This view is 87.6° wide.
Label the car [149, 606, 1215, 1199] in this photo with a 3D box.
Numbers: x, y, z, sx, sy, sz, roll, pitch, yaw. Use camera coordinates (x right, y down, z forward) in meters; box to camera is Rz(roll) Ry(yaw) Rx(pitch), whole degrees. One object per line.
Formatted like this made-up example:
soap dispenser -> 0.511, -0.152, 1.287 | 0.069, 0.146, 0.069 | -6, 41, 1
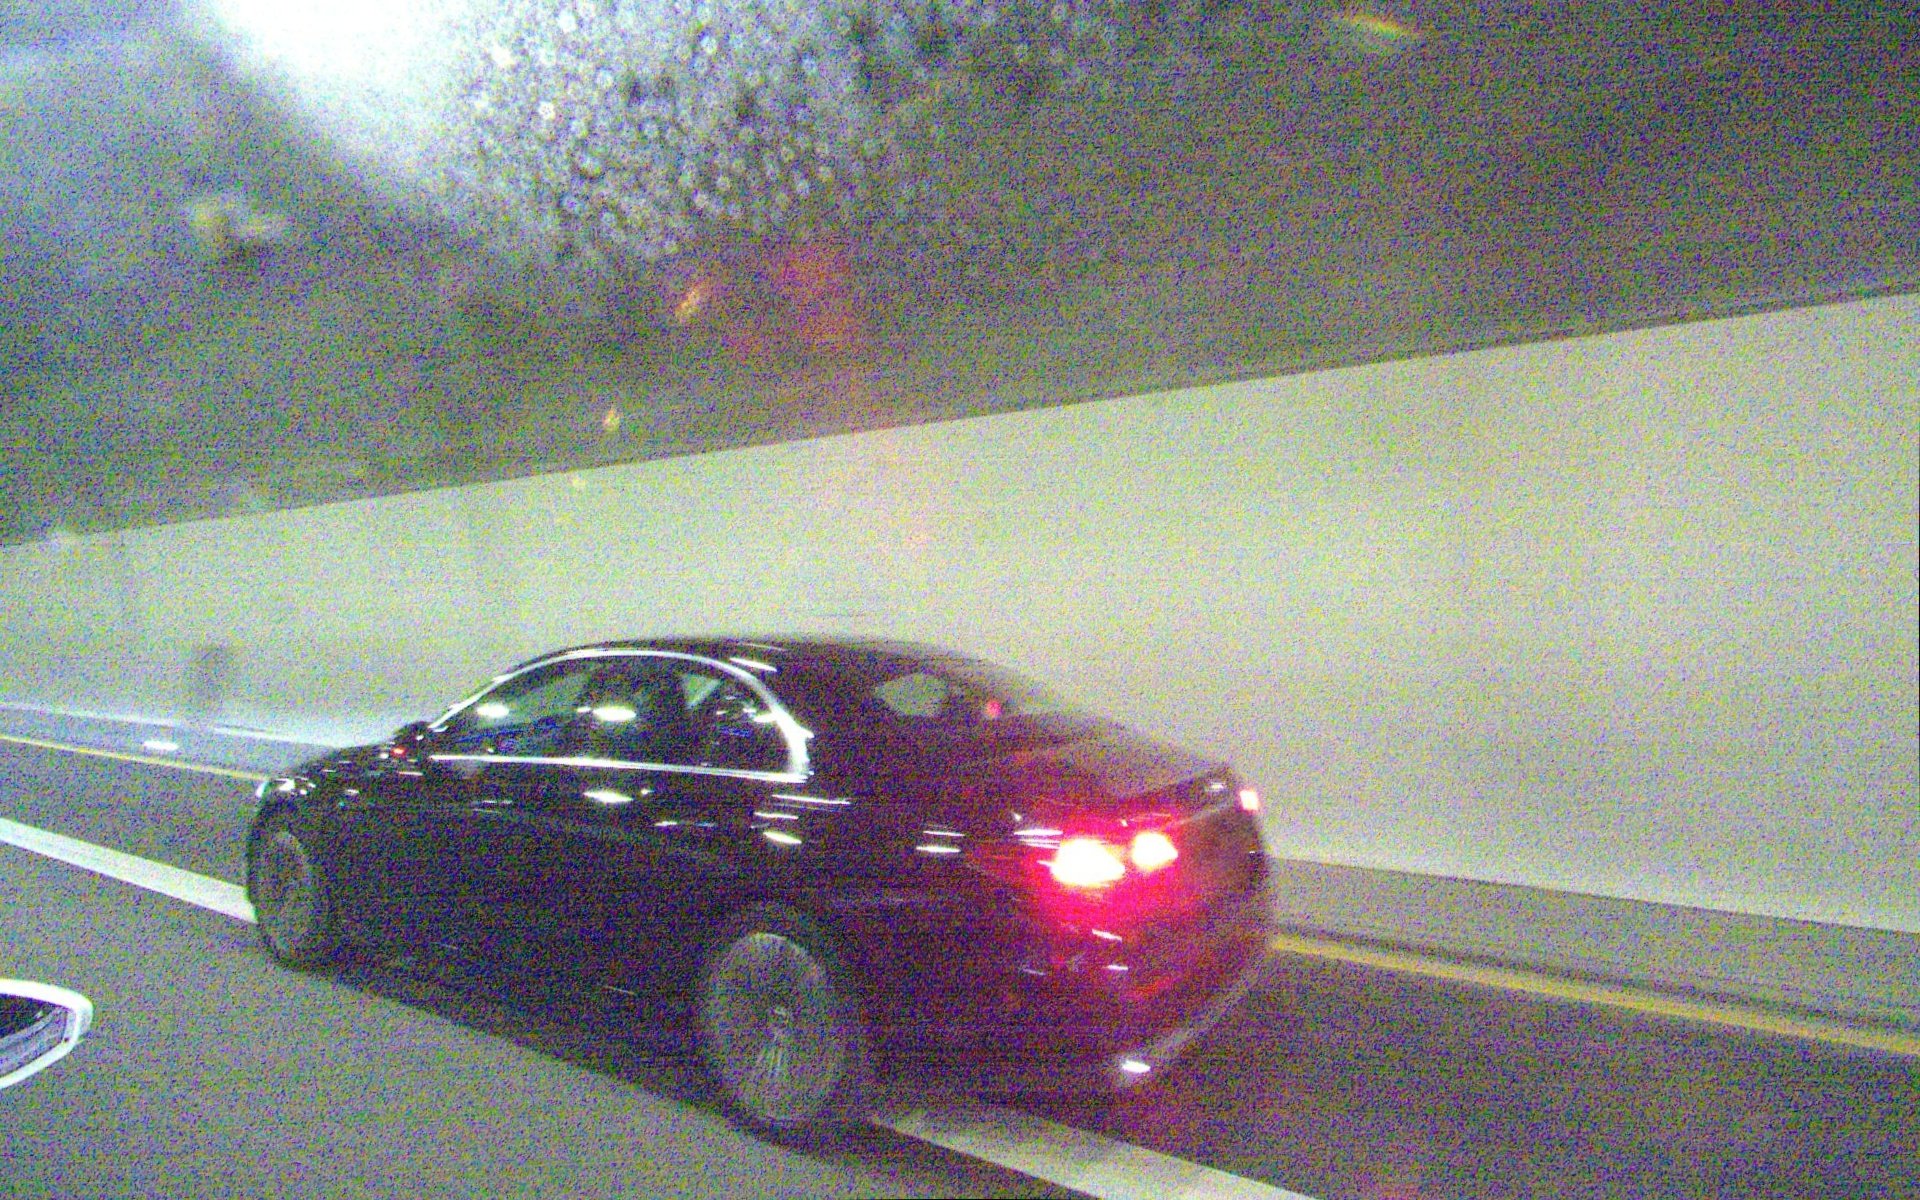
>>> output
car -> -1.526, 0.856, 4.567 | 4.884, 1.490, 1.923 | -1, -3, 33
